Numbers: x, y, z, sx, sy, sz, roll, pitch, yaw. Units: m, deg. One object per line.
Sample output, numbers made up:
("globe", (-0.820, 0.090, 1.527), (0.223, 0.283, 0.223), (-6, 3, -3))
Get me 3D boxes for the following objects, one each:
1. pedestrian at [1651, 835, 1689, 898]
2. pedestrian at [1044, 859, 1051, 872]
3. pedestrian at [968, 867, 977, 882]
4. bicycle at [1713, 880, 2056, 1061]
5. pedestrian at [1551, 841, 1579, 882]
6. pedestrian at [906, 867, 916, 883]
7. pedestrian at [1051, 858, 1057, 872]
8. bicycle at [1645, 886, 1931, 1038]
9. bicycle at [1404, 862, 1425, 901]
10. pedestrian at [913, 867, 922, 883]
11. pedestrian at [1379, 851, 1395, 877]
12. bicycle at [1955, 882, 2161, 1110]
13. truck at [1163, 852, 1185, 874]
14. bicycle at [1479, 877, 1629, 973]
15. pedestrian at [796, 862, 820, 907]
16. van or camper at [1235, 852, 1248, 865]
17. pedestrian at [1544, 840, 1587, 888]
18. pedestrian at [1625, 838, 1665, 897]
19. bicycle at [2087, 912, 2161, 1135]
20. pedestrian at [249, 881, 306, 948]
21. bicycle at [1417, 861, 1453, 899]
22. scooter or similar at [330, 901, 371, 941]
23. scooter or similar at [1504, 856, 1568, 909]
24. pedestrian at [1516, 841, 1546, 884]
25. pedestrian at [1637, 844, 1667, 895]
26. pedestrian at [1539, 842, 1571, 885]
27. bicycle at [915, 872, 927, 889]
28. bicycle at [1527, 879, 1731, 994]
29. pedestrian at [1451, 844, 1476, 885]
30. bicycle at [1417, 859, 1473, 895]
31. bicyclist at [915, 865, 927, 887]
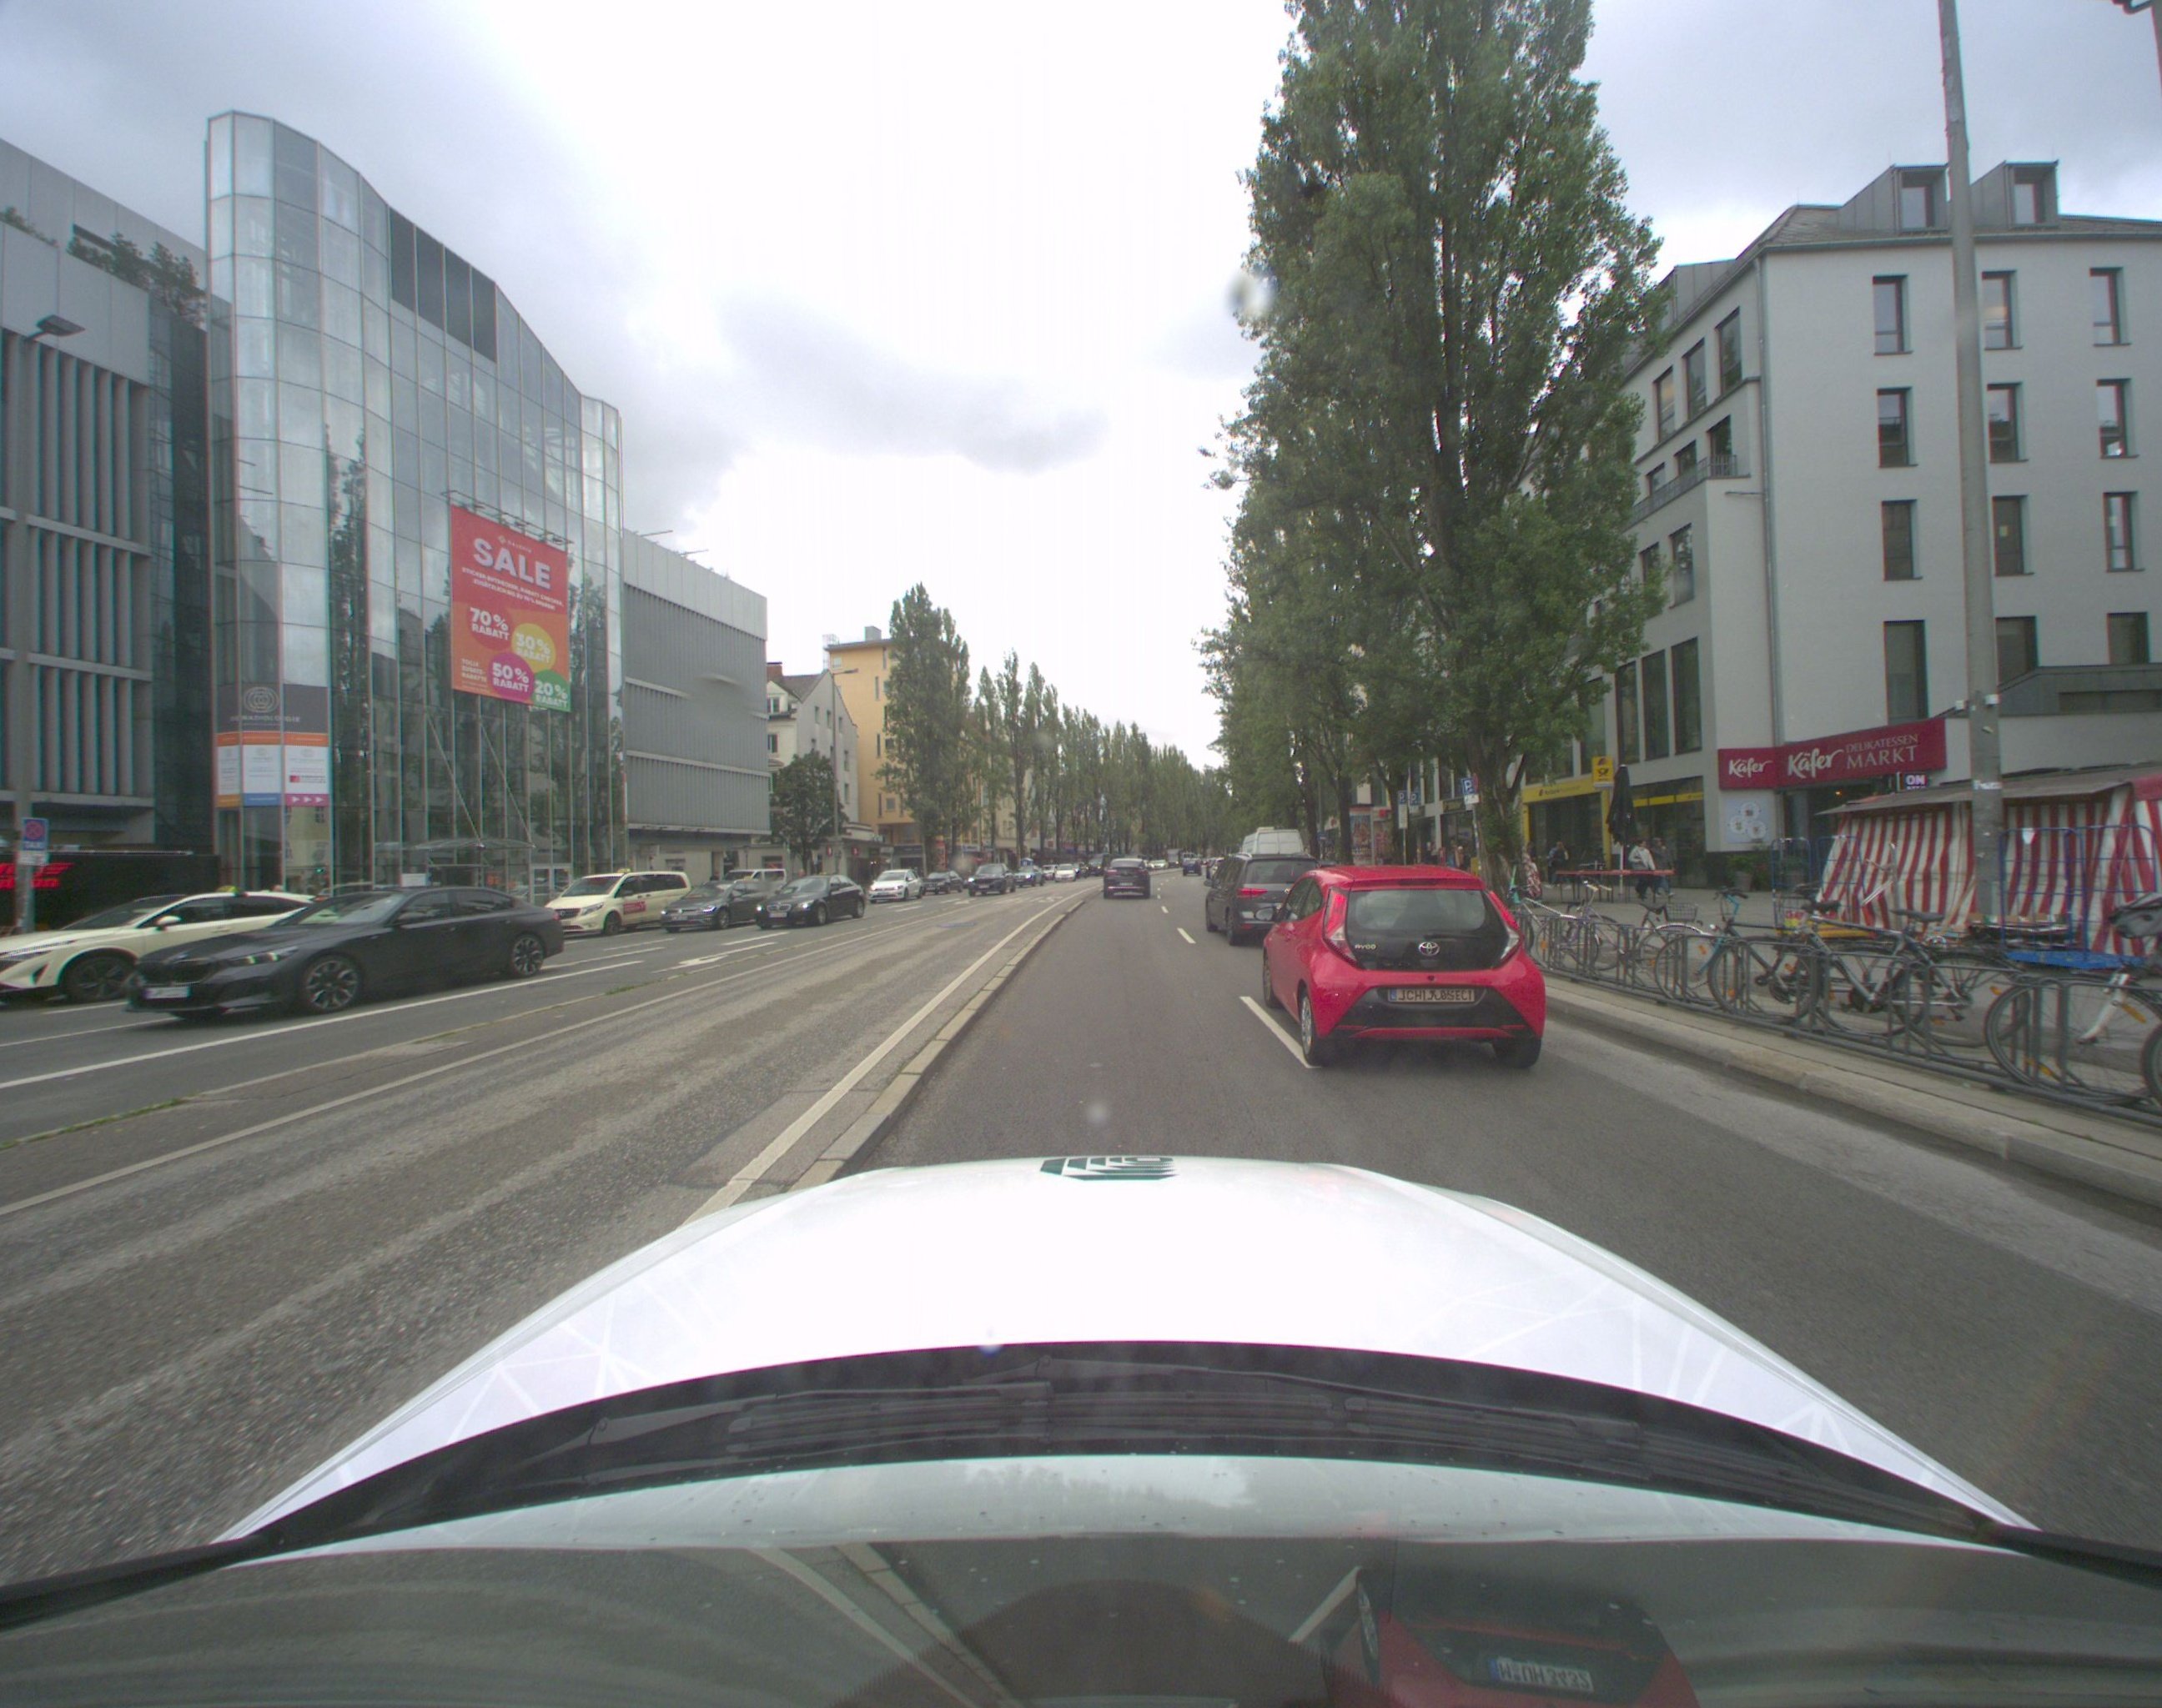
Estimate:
("pedestrian", (16.299, 0.337, 22.546), (0.576, 1.701, 0.598), (-3, -1, 10))
("pedestrian", (-4.686, 1.582, 114.041), (0.633, 1.862, 0.650), (-2, -1, 15))
("pedestrian", (-11.594, 2.226, 87.191), (0.629, 1.561, 0.819), (-2, -1, 16))
("bicycle", (5.986, 0.801, 6.221), (1.779, 1.105, 0.550), (2, 1, 40))
("pedestrian", (19.142, 0.295, 32.197), (0.758, 1.535, 0.712), (-3, -1, 19))
("pedestrian", (-15.822, 1.969, 75.749), (0.630, 1.435, 0.778), (-2, -1, 1))
("pedestrian", (-3.832, 1.572, 113.991), (0.633, 1.862, 0.650), (-2, -1, 15))
("bicycle", (5.939, 0.855, 6.960), (1.779, 1.054, 0.369), (2, 1, 40))
("bicycle", (10.368, 0.845, 25.372), (0.473, 1.160, 1.834), (-2, 0, 19))
("pedestrian", (-15.207, 1.964, 75.700), (0.630, 1.435, 0.778), (-2, -1, 1))
("pedestrian", (18.926, 0.641, 50.411), (0.565, 1.576, 0.672), (-2, -1, -21))
("bicycle", (5.822, 0.748, 4.156), (1.779, 1.105, 0.550), (2, 1, 40))
("truck", (15.217, 1.437, 132.946), (2.274, 3.323, 7.185), (-3, -1, 15))
("bicycle", (6.013, 0.862, 10.396), (1.556, 1.054, 0.550), (2, 1, 40))
("pedestrian", (-11.574, 1.270, 34.484), (0.790, 1.867, 0.839), (-2, -1, -28))
("van or camper", (31.036, 0.855, 157.227), (2.019, 2.476, 4.015), (-2, -2, 15))
("pedestrian", (16.869, 0.343, 28.361), (0.798, 1.637, 1.021), (-2, -1, -6))
("pedestrian", (15.574, 0.375, 22.508), (0.638, 1.583, 0.636), (-3, -1, 10))
("bicycle", (5.714, 0.834, 3.443), (1.780, 1.010, 0.388), (3, 1, 45))
("pedestrian", (-22.659, 1.683, 22.965), (0.783, 1.805, 0.821), (-2, -1, 14))
("bicycle", (11.339, 0.805, 26.108), (0.475, 1.160, 1.634), (-1, 0, 3))
("scooter or similar", (-22.685, 2.063, 25.305), (0.367, 1.140, 1.373), (-2, -1, -17))
("scooter or similar", (11.117, 0.692, 19.883), (1.468, 1.207, 0.398), (-2, -1, -16))
("pedestrian", (17.406, 0.329, 31.505), (0.688, 1.649, 0.798), (-2, -1, 2))
("pedestrian", (17.019, 0.456, 24.289), (0.641, 1.476, 0.764), (-2, -2, 40))
("pedestrian", (17.733, 0.359, 30.463), (0.688, 1.585, 0.773), (-2, -1, 2))
("bicycle", (-11.980, 1.969, 61.028), (0.365, 1.201, 1.158), (-2, -1, 16))
("bicycle", (5.986, 0.854, 8.962), (1.779, 1.054, 0.550), (2, 1, 40))
("pedestrian", (16.472, 0.440, 35.086), (0.712, 1.724, 0.744), (-3, -1, 39))
("bicycle", (12.180, 0.779, 27.276), (1.616, 1.160, 0.708), (-1, -1, 15))
("bicyclist", (-11.981, 1.645, 61.078), (0.498, 1.592, 0.838), (-2, -1, 15))
